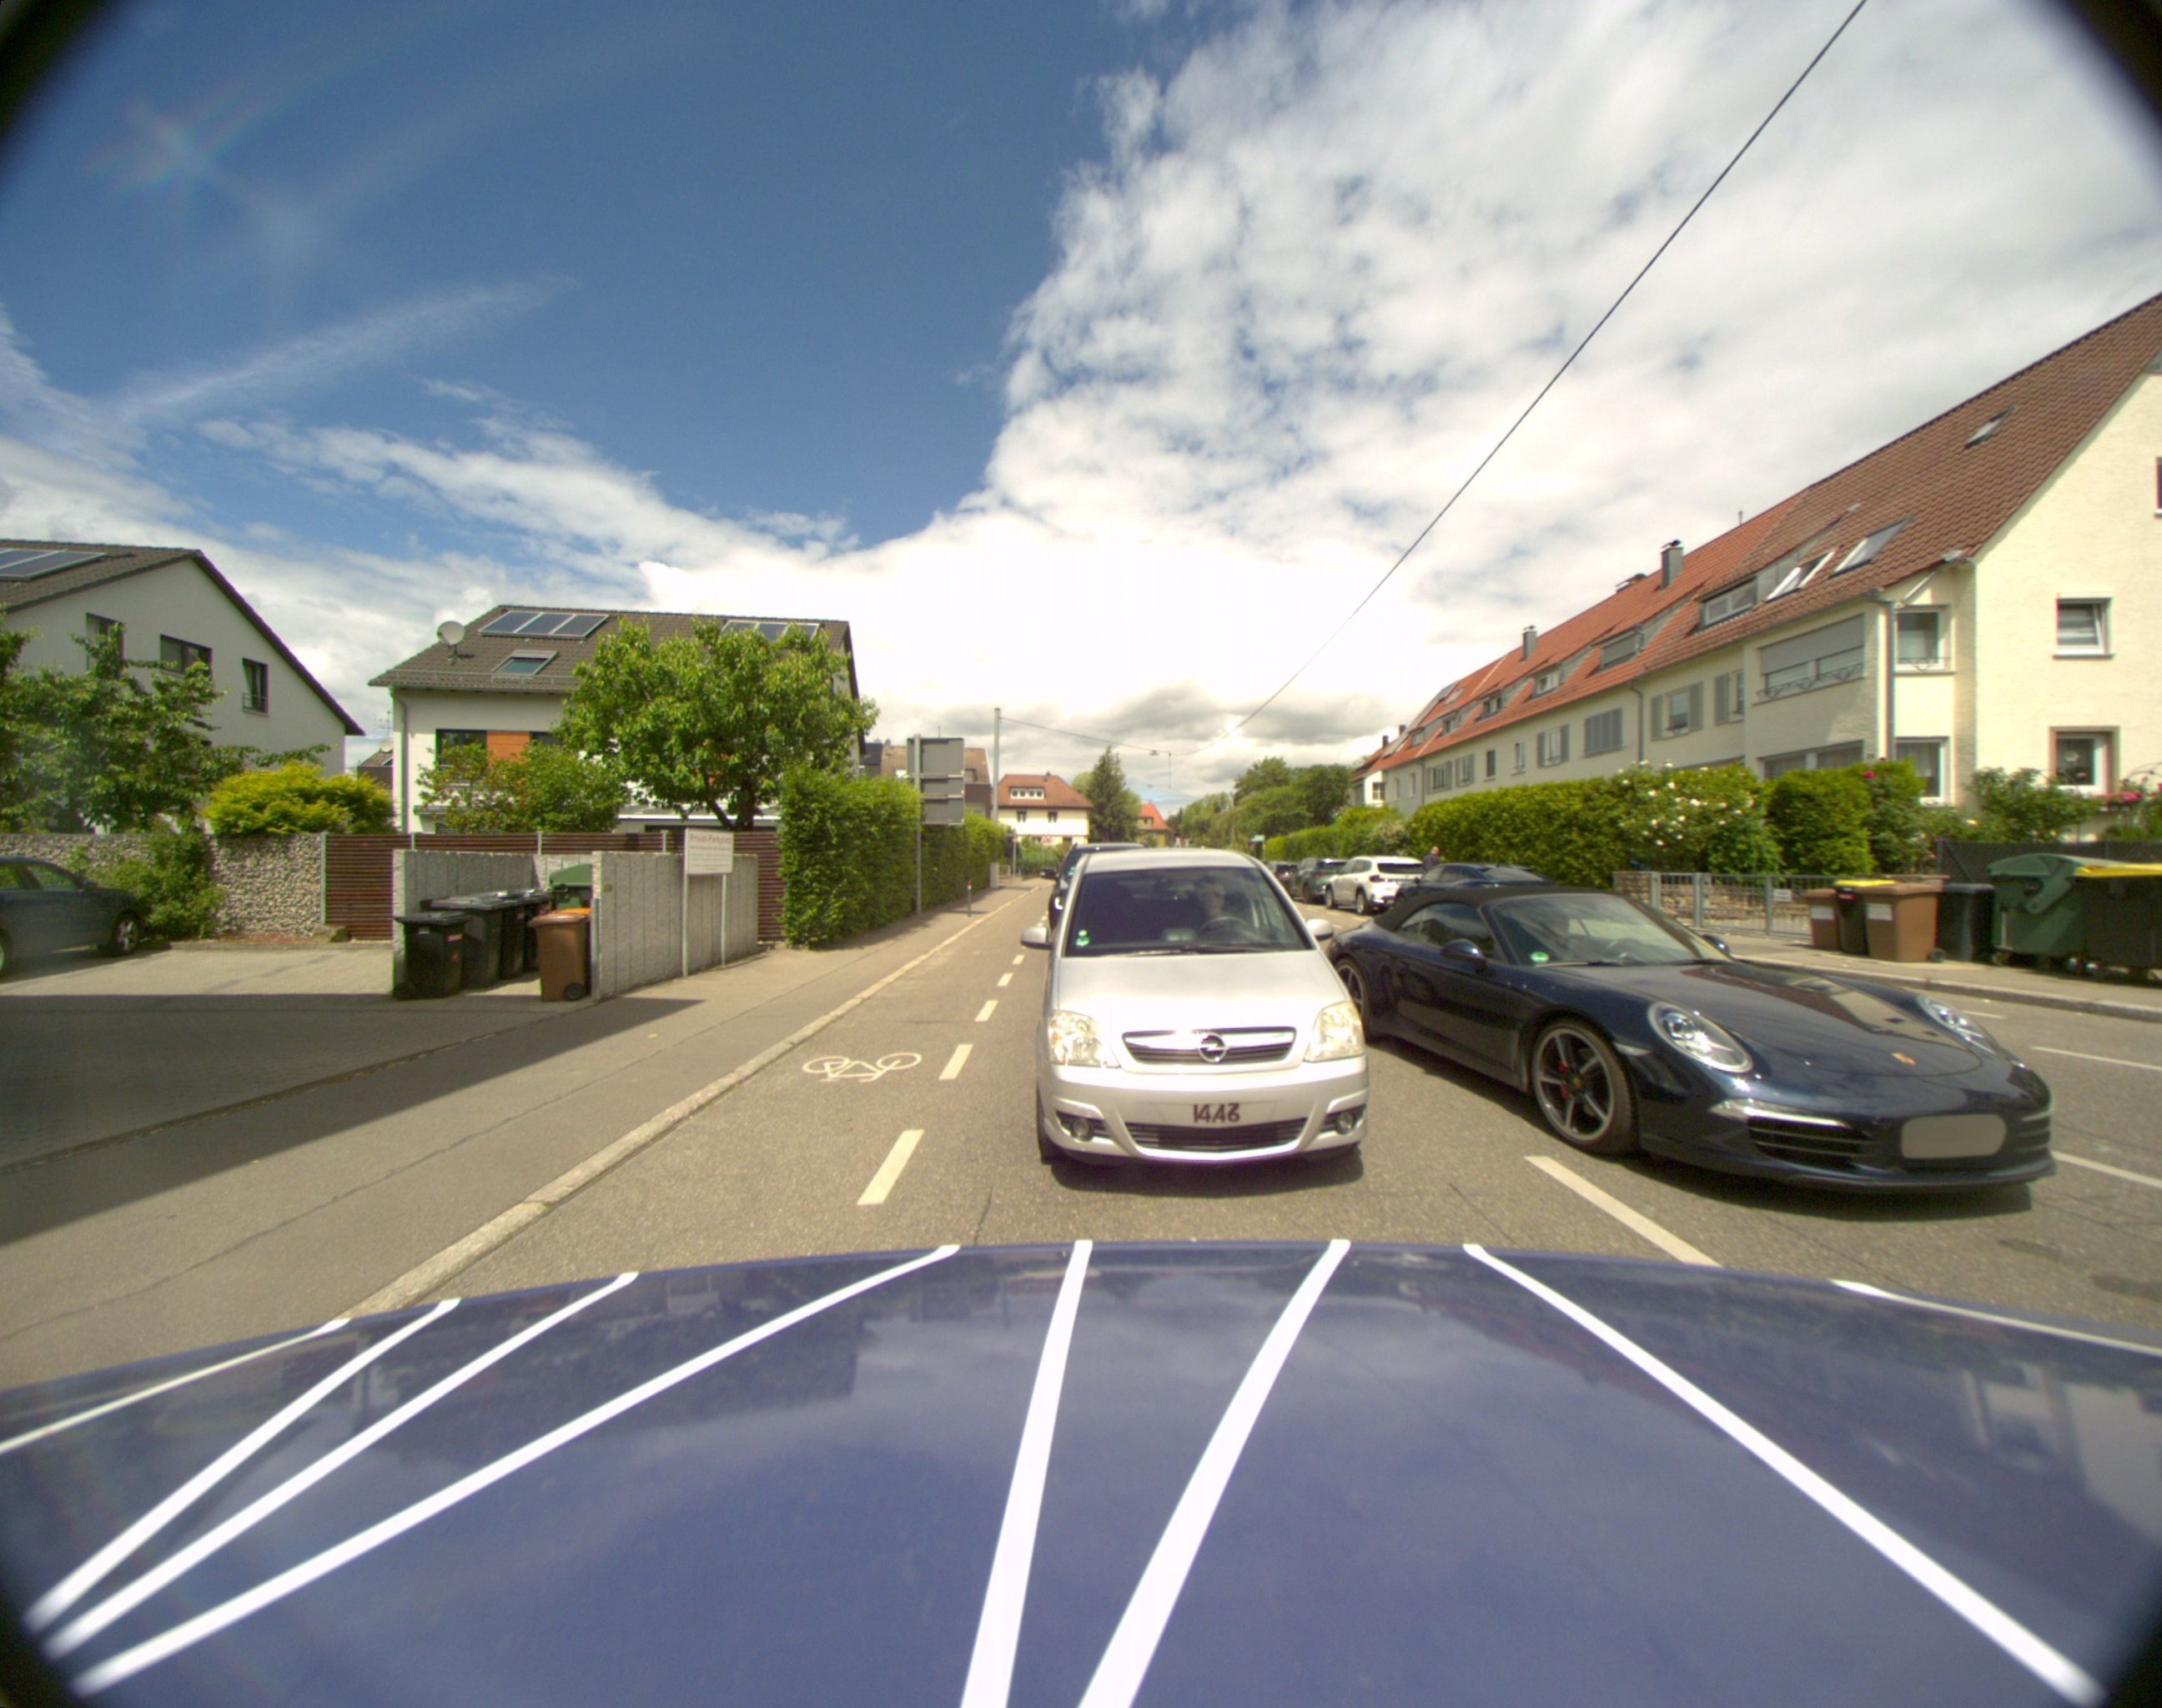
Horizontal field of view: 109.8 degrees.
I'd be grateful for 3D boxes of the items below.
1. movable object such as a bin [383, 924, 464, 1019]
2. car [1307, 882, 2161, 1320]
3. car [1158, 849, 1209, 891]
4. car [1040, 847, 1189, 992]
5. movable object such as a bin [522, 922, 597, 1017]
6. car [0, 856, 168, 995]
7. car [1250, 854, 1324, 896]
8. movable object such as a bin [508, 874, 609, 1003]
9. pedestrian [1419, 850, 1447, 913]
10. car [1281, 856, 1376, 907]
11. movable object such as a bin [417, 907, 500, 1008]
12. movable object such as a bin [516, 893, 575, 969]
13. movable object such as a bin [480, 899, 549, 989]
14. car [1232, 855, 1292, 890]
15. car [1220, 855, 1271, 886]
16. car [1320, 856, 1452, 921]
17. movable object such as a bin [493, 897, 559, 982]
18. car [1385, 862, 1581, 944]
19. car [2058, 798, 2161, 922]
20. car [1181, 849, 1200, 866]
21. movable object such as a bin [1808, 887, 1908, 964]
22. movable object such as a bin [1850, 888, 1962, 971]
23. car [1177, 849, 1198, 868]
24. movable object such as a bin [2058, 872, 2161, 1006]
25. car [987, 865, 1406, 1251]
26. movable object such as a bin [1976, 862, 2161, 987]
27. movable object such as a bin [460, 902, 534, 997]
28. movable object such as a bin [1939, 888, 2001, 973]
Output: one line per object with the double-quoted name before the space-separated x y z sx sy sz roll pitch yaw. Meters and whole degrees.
"movable object such as a bin" -7.069 1.243 8.187 0.519 0.916 0.478 -1 1 -24
"car" 3.167 0.948 4.792 1.816 1.356 4.041 -1 0 -8
"car" 4.829 0.717 36.288 1.998 1.903 4.070 -1 0 2
"car" 0.376 0.836 12.363 1.887 1.838 5.220 -1 0 -1
"movable object such as a bin" -5.555 1.216 8.113 0.519 0.916 0.478 -1 1 -18
"car" -14.818 0.918 10.046 2.003 1.587 3.990 -1 3 -26
"car" 8.687 0.841 32.376 1.998 1.623 4.236 0 0 0
"movable object such as a bin" -6.100 0.967 8.898 0.809 1.446 0.479 -1 1 -4
"pedestrian" 10.216 0.783 22.076 0.533 1.805 0.511 -1 1 -4
"car" 8.626 0.909 26.879 1.998 1.623 4.236 -1 0 0
"movable object such as a bin" -7.120 1.164 8.714 0.596 1.069 0.488 -1 1 -24
"movable object such as a bin" -8.072 1.147 11.468 0.596 1.069 0.488 -1 1 -19
"movable object such as a bin" -7.289 1.144 9.803 0.596 1.069 0.488 -1 1 -24
"car" 8.954 0.870 38.027 1.998 1.623 4.236 -1 0 0
"car" 9.256 0.878 43.138 1.998 1.623 4.236 -1 0 0
"car" 8.562 0.901 21.809 1.998 1.623 4.453 -1 0 0
"movable object such as a bin" -7.501 1.138 10.289 0.596 1.069 0.488 -1 1 -24
"car" 8.557 0.959 16.712 1.819 1.492 4.452 -1 0 -2
"car" 19.420 0.054 12.541 3.997 2.002 2.000 -1 0 0
"car" 12.799 0.355 88.588 1.997 1.903 4.072 -1 0 11
"movable object such as a bin" 11.348 1.036 11.120 0.763 1.059 0.693 -1 0 7
"movable object such as a bin" 11.259 1.022 10.395 0.763 1.059 0.693 -1 0 7
"car" 11.472 0.488 81.442 1.997 1.903 4.072 -1 0 11
"movable object such as a bin" 11.808 0.897 8.268 1.092 1.354 0.981 -1 0 0
"car" 0.514 0.909 5.262 1.774 1.566 4.001 -1 0 0
"movable object such as a bin" 12.140 0.829 9.356 1.092 1.438 0.981 -1 0 0
"movable object such as a bin" -7.133 1.148 9.307 0.596 1.069 0.488 -1 1 -24
"movable object such as a bin" 11.984 1.013 10.240 0.657 1.059 0.522 -1 1 -39
